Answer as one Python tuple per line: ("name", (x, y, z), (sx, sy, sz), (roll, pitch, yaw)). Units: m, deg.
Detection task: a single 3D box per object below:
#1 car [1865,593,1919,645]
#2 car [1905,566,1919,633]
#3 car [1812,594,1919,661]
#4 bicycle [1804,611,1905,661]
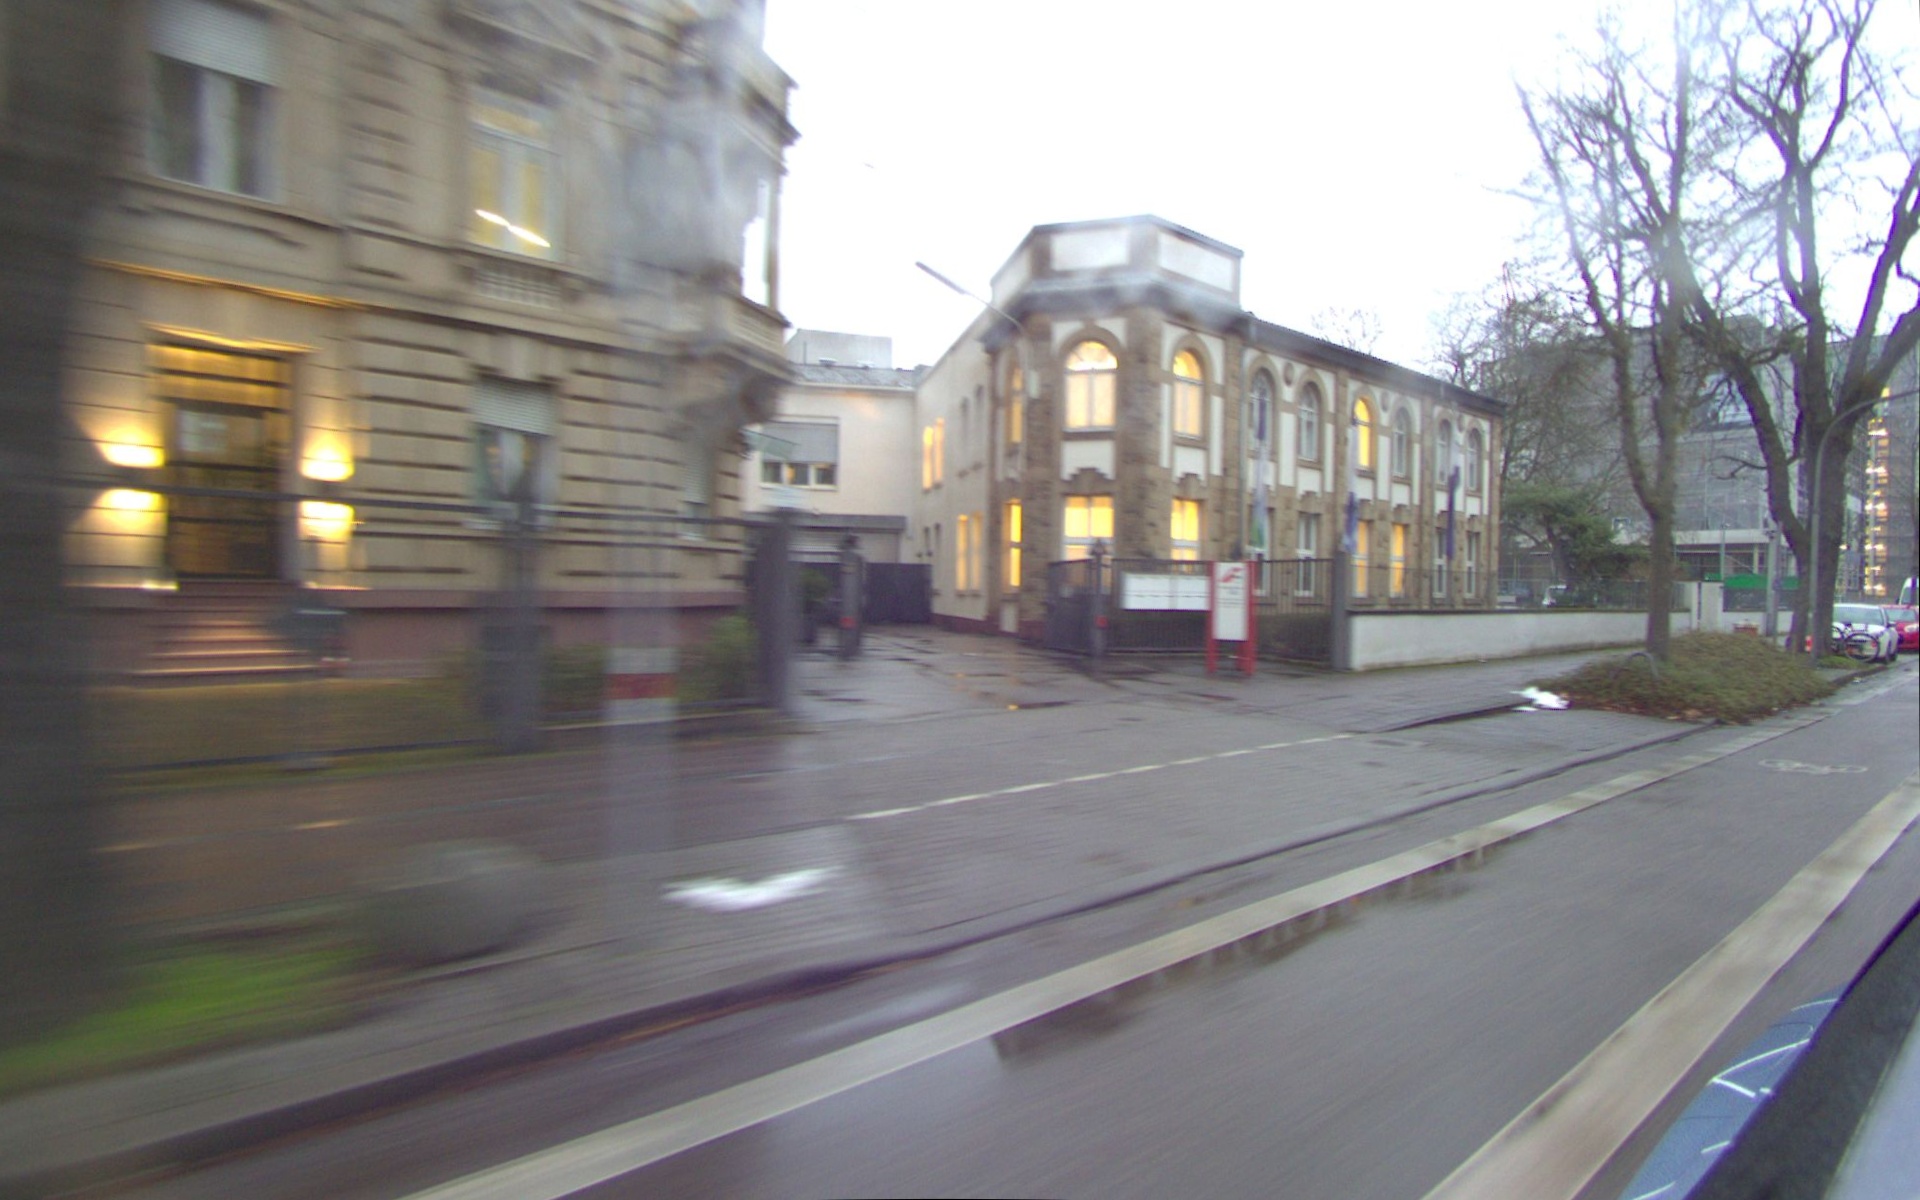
("car", (29.741, 0.590, 31.812), (3.512, 1.542, 1.645), (1, 0, -43))
("car", (38.511, 0.026, 39.397), (5.347, 2.518, 2.126), (1, 1, -43))
("car", (23.338, 0.665, 26.033), (3.574, 1.539, 1.694), (1, 1, -42))
("bicycle", (21.508, 0.843, 24.359), (0.651, 1.084, 1.716), (1, 1, -40))
